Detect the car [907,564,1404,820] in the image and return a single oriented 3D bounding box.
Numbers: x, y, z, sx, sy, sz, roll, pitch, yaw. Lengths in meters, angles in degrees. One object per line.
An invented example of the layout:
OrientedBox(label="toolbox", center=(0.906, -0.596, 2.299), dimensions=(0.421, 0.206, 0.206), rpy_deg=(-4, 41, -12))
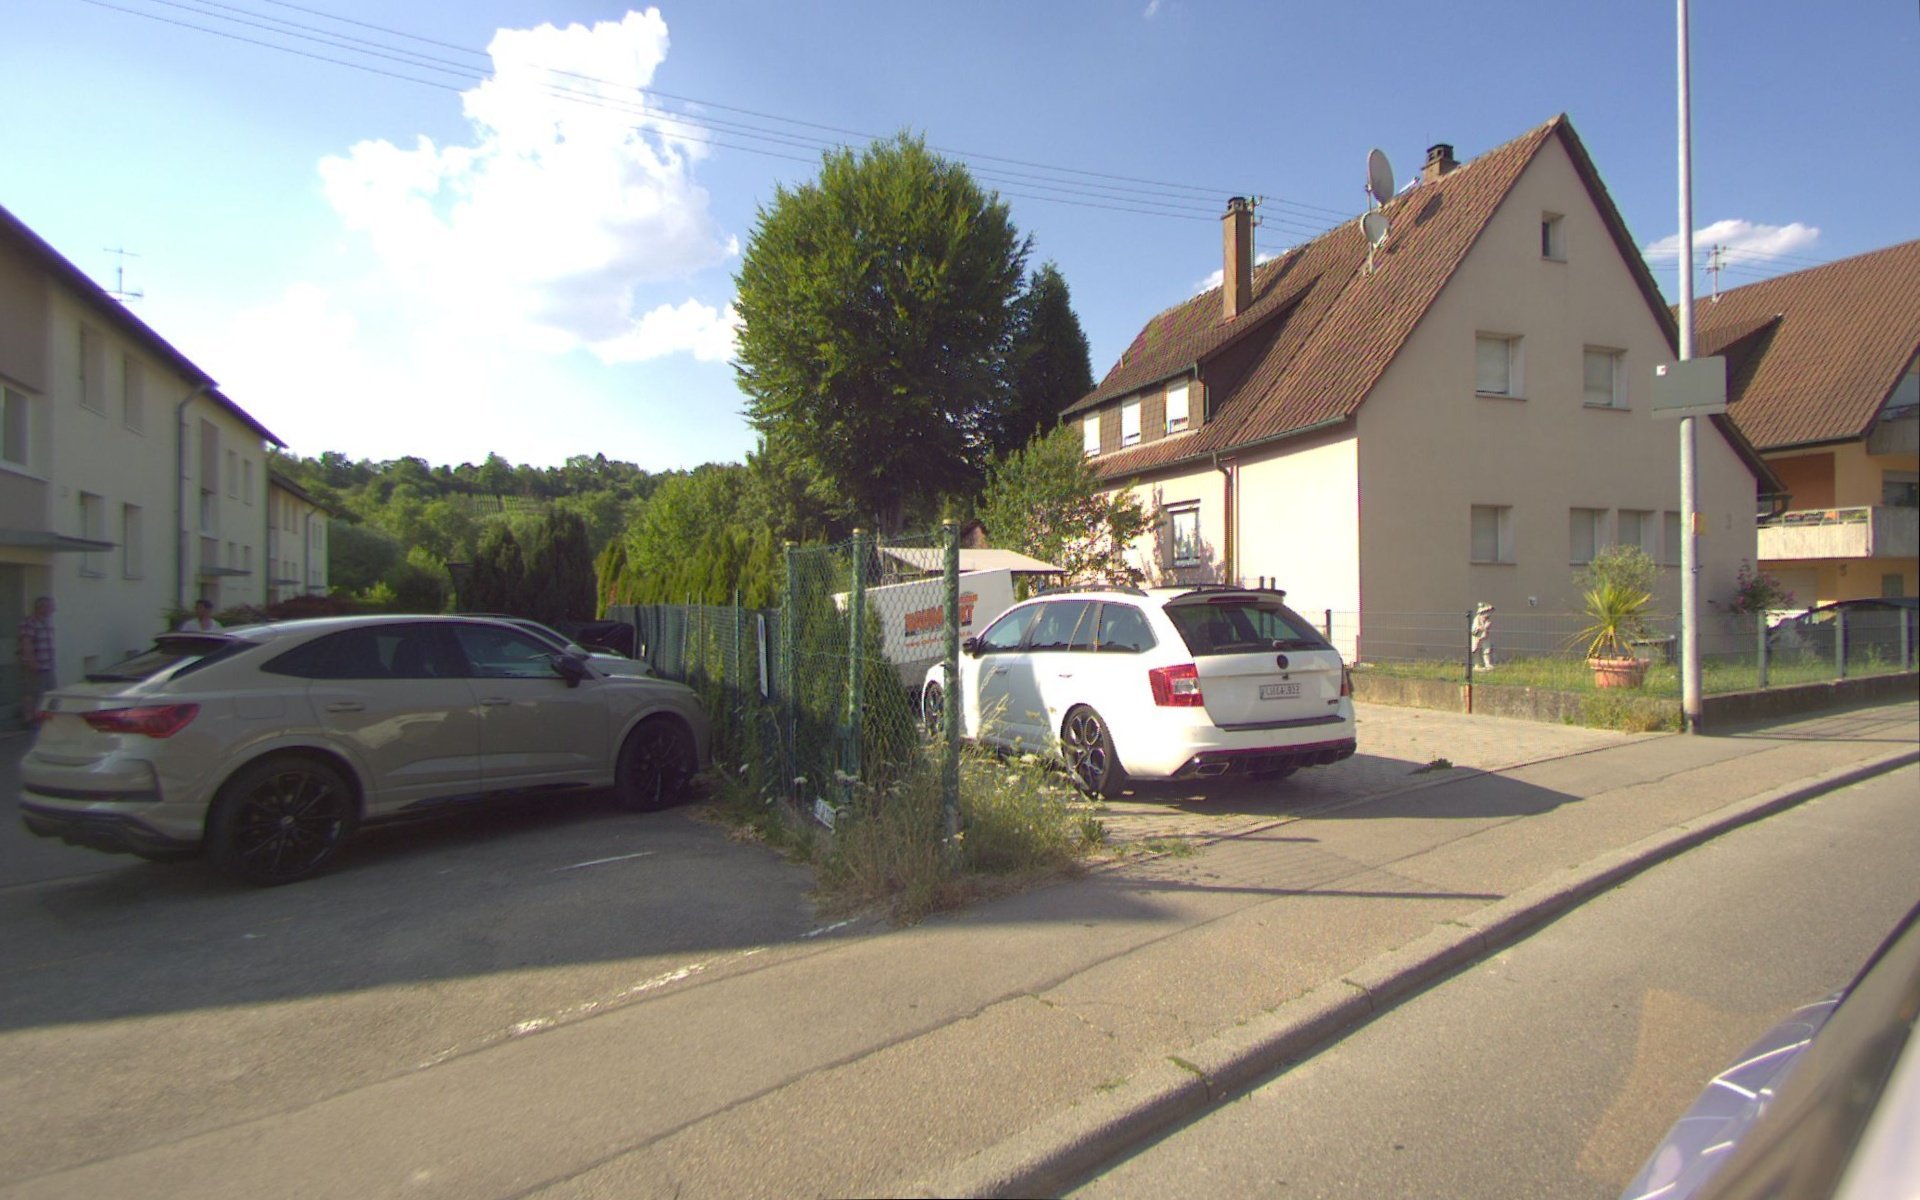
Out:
OrientedBox(label="car", center=(1.169, 0.528, 8.231), dimensions=(1.695, 1.476, 4.486), rpy_deg=(0, 0, -24))

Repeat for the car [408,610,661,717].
OrientedBox(label="car", center=(-7.012, 0.962, 17.007), dimensions=(1.667, 1.520, 3.635), rpy_deg=(1, 1, 32))

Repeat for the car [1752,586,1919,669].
OrientedBox(label="car", center=(17.151, 0.497, 18.784), dimensions=(1.406, 1.453, 3.707), rpy_deg=(1, -1, -17))

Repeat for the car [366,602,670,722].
OrientedBox(label="car", center=(-6.035, 0.753, 14.191), dimensions=(1.667, 1.426, 3.635), rpy_deg=(-1, 0, 32))

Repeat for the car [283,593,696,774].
OrientedBox(label="car", center=(-4.784, 0.739, 10.754), dimensions=(1.751, 1.564, 3.635), rpy_deg=(-2, -1, 32))

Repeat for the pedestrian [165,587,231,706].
OrientedBox(label="pedestrian", center=(-11.324, 0.672, 15.045), dimensions=(0.434, 1.726, 0.667), rpy_deg=(0, 0, 37))

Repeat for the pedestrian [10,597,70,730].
OrientedBox(label="pedestrian", center=(-12.284, 0.826, 13.520), dimensions=(0.404, 1.726, 0.537), rpy_deg=(1, 0, -22))

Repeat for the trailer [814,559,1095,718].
OrientedBox(label="trailer", center=(-0.083, 0.448, 12.610), dimensions=(3.149, 1.774, 1.528), rpy_deg=(1, -1, -22))

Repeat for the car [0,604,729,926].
OrientedBox(label="car", center=(-3.813, 0.857, 7.214), dimensions=(1.687, 1.539, 4.226), rpy_deg=(-4, -2, 33))
